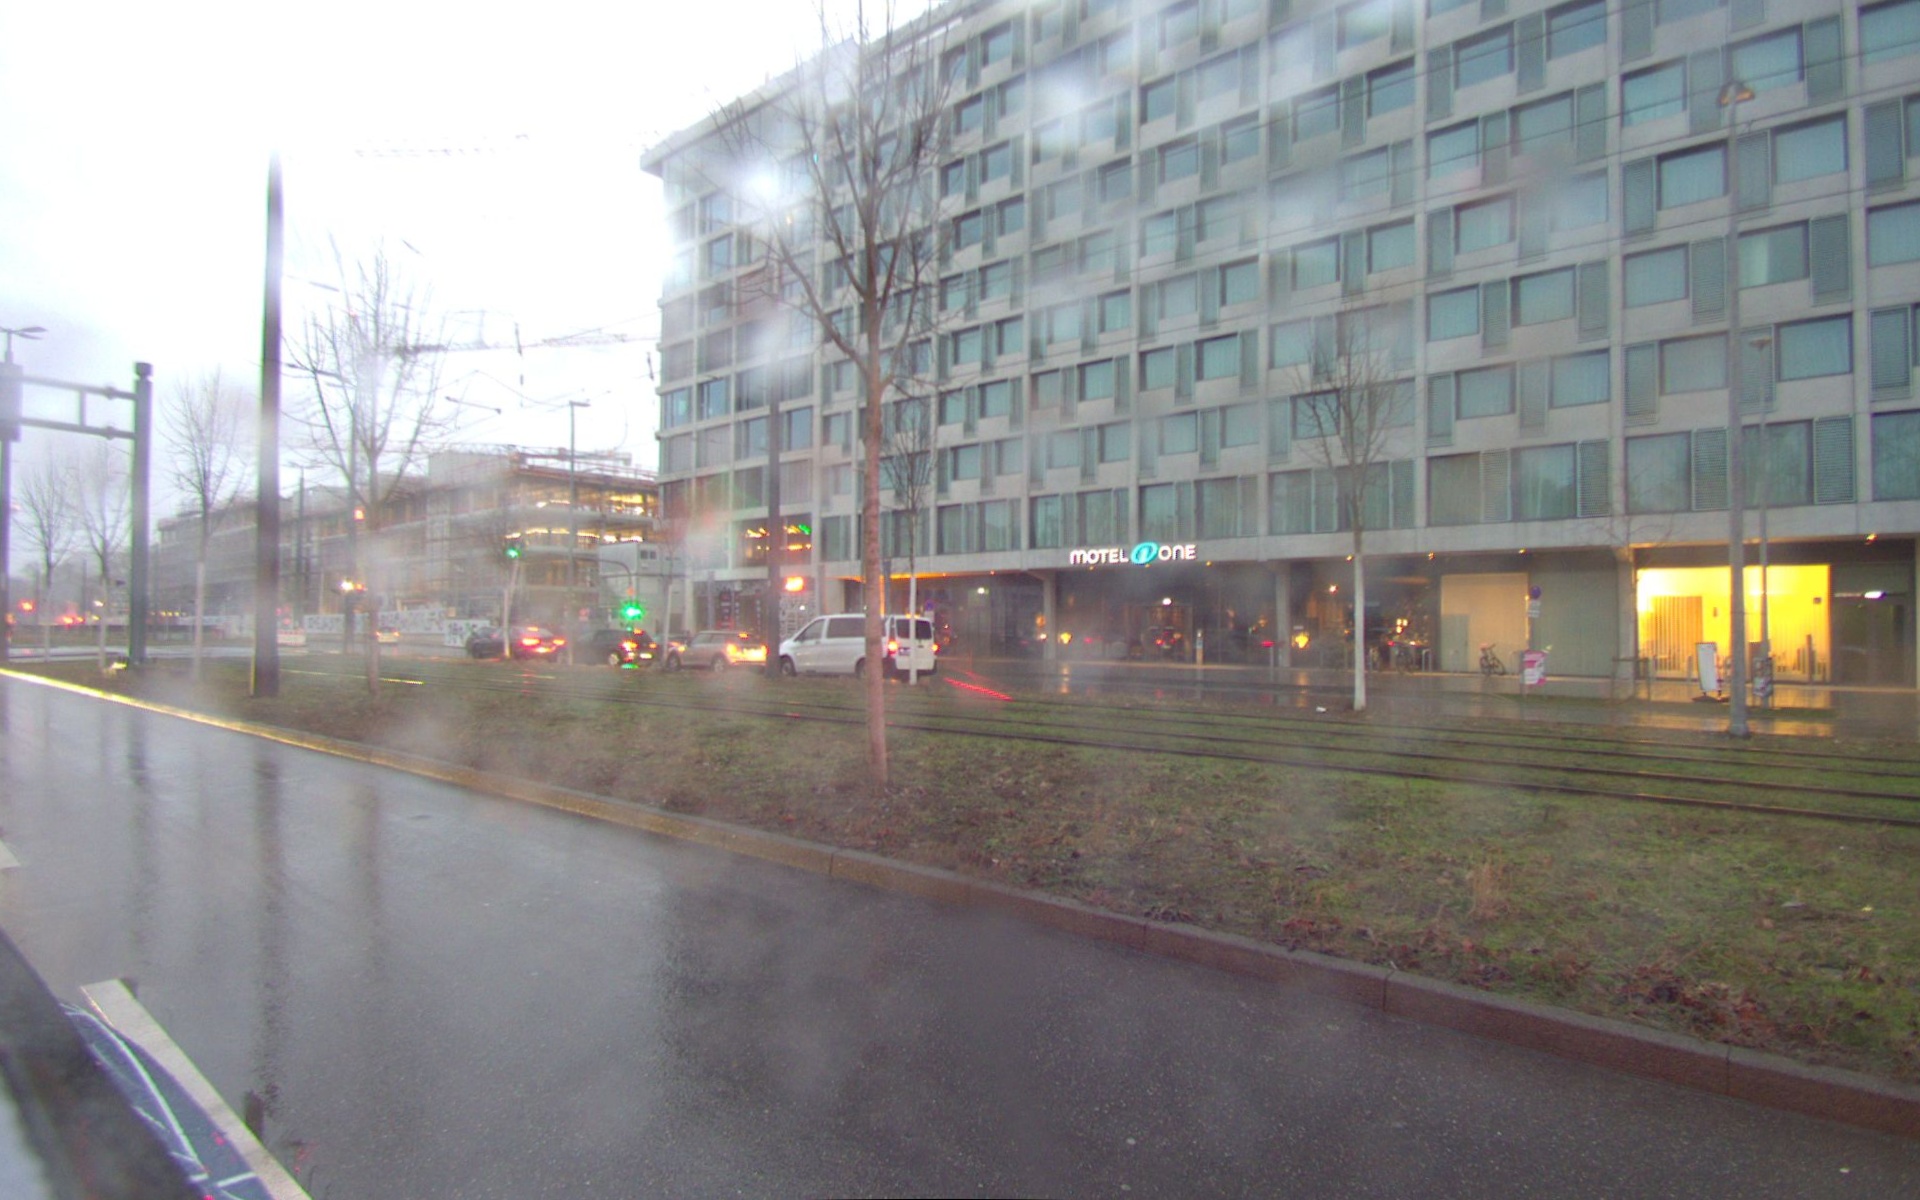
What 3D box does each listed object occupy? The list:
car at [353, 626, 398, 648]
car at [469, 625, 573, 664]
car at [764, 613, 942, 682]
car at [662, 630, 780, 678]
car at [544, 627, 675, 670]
[{"bbox_3d":[-46.295,2.919,80.110,1.874,1.732,4.920,2,-2,-44],"label":"car"},{"bbox_3d":[-17.949,1.785,41.306,5.032,1.479,1.972,-2,-3,42],"label":"car"},{"bbox_3d":[-3.026,1.258,27.759,5.115,1.732,1.876,-1,-3,41],"label":"car"},{"bbox_3d":[-7.674,1.693,32.383,3.704,1.442,1.876,-1,-3,41],"label":"car"},{"bbox_3d":[-12.764,1.734,36.865,4.425,1.508,1.983,-1,-2,26],"label":"car"}]
